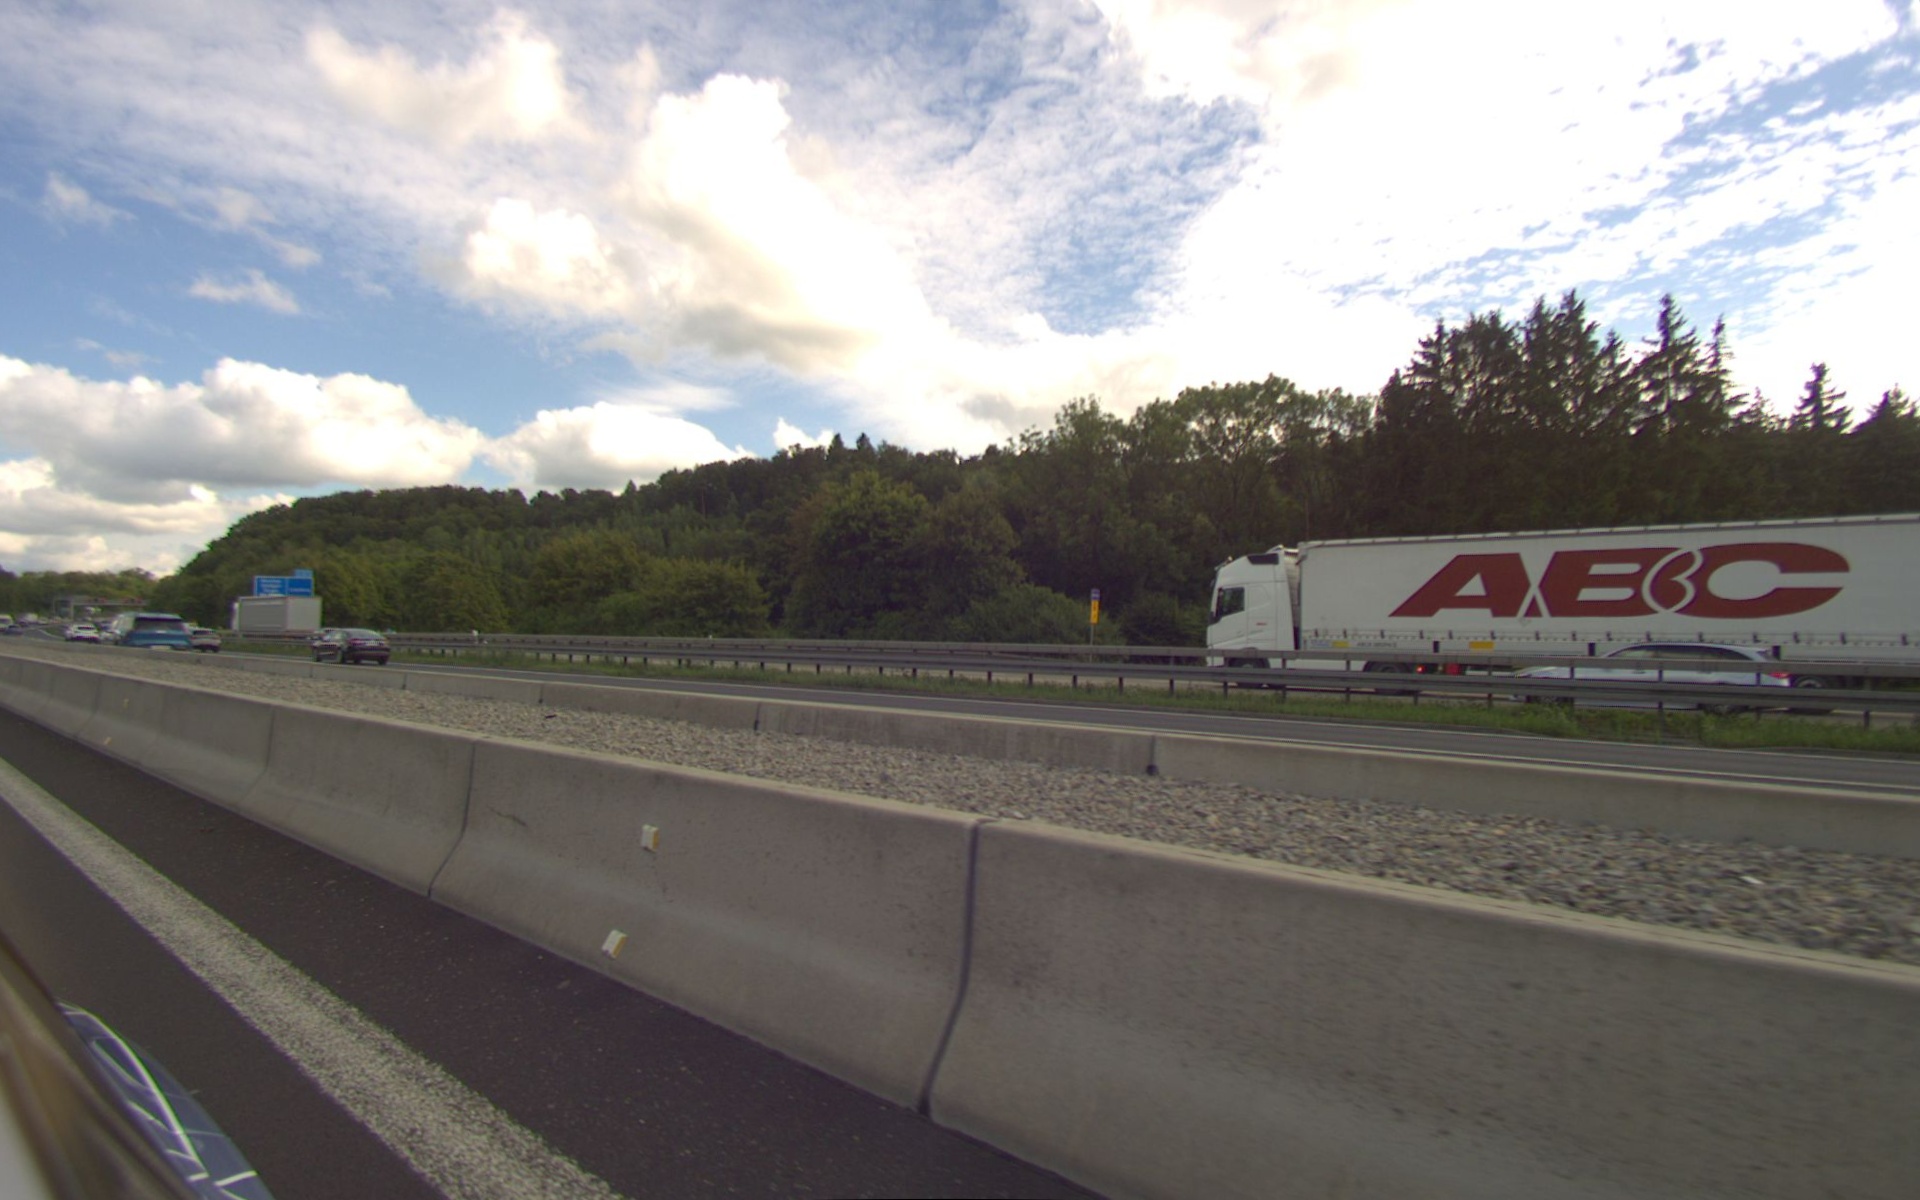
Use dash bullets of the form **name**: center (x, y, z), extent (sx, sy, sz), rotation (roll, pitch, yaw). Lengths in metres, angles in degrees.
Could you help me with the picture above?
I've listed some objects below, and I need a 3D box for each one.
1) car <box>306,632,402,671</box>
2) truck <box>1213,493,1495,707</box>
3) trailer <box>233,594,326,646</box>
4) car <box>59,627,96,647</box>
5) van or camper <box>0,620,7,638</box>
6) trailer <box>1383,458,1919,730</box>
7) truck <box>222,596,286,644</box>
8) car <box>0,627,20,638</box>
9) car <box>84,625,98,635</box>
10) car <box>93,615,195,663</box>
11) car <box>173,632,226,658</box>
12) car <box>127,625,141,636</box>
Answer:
- **car**: center (-25.718, 2.139, 42.878), extent (5.304, 1.506, 1.922), rotation (-1, -3, 41)
- **truck**: center (10.670, 0.082, 27.701), extent (6.621, 5.181, 2.996), rotation (-1, -3, 39)
- **trailer**: center (-57.896, 1.703, 85.913), extent (13.380, 4.124, 3.119), rotation (-1, -3, 41)
- **car**: center (-75.490, 3.187, 86.552), extent (4.753, 1.643, 1.779), rotation (-1, -3, 42)
- **van or camper**: center (-139.105, 4.121, 146.114), extent (2.075, 2.555, 5.426), rotation (3, -3, -44)
- **trailer**: center (17.339, -0.032, 22.164), extent (14.705, 5.200, 3.077), rotation (-1, -3, 40)
- **truck**: center (-63.250, 1.820, 90.631), extent (6.284, 4.097, 3.119), rotation (-1, -3, 41)
- **car**: center (-126.139, 4.305, 134.245), extent (4.207, 1.432, 1.731), rotation (-1, -3, 42)
- **car**: center (-173.613, 5.950, 202.175), extent (1.969, 2.029, 4.006), rotation (3, -3, -41)
- **car**: center (-27.854, 1.297, 34.483), extent (4.970, 1.506, 1.828), rotation (-1, -3, 41)
- **car**: center (-47.409, 2.804, 63.074), extent (4.994, 1.506, 1.628), rotation (-1, -3, 41)
- **car**: center (-162.828, 6.058, 199.499), extent (1.969, 2.029, 4.006), rotation (3, -3, -41)
